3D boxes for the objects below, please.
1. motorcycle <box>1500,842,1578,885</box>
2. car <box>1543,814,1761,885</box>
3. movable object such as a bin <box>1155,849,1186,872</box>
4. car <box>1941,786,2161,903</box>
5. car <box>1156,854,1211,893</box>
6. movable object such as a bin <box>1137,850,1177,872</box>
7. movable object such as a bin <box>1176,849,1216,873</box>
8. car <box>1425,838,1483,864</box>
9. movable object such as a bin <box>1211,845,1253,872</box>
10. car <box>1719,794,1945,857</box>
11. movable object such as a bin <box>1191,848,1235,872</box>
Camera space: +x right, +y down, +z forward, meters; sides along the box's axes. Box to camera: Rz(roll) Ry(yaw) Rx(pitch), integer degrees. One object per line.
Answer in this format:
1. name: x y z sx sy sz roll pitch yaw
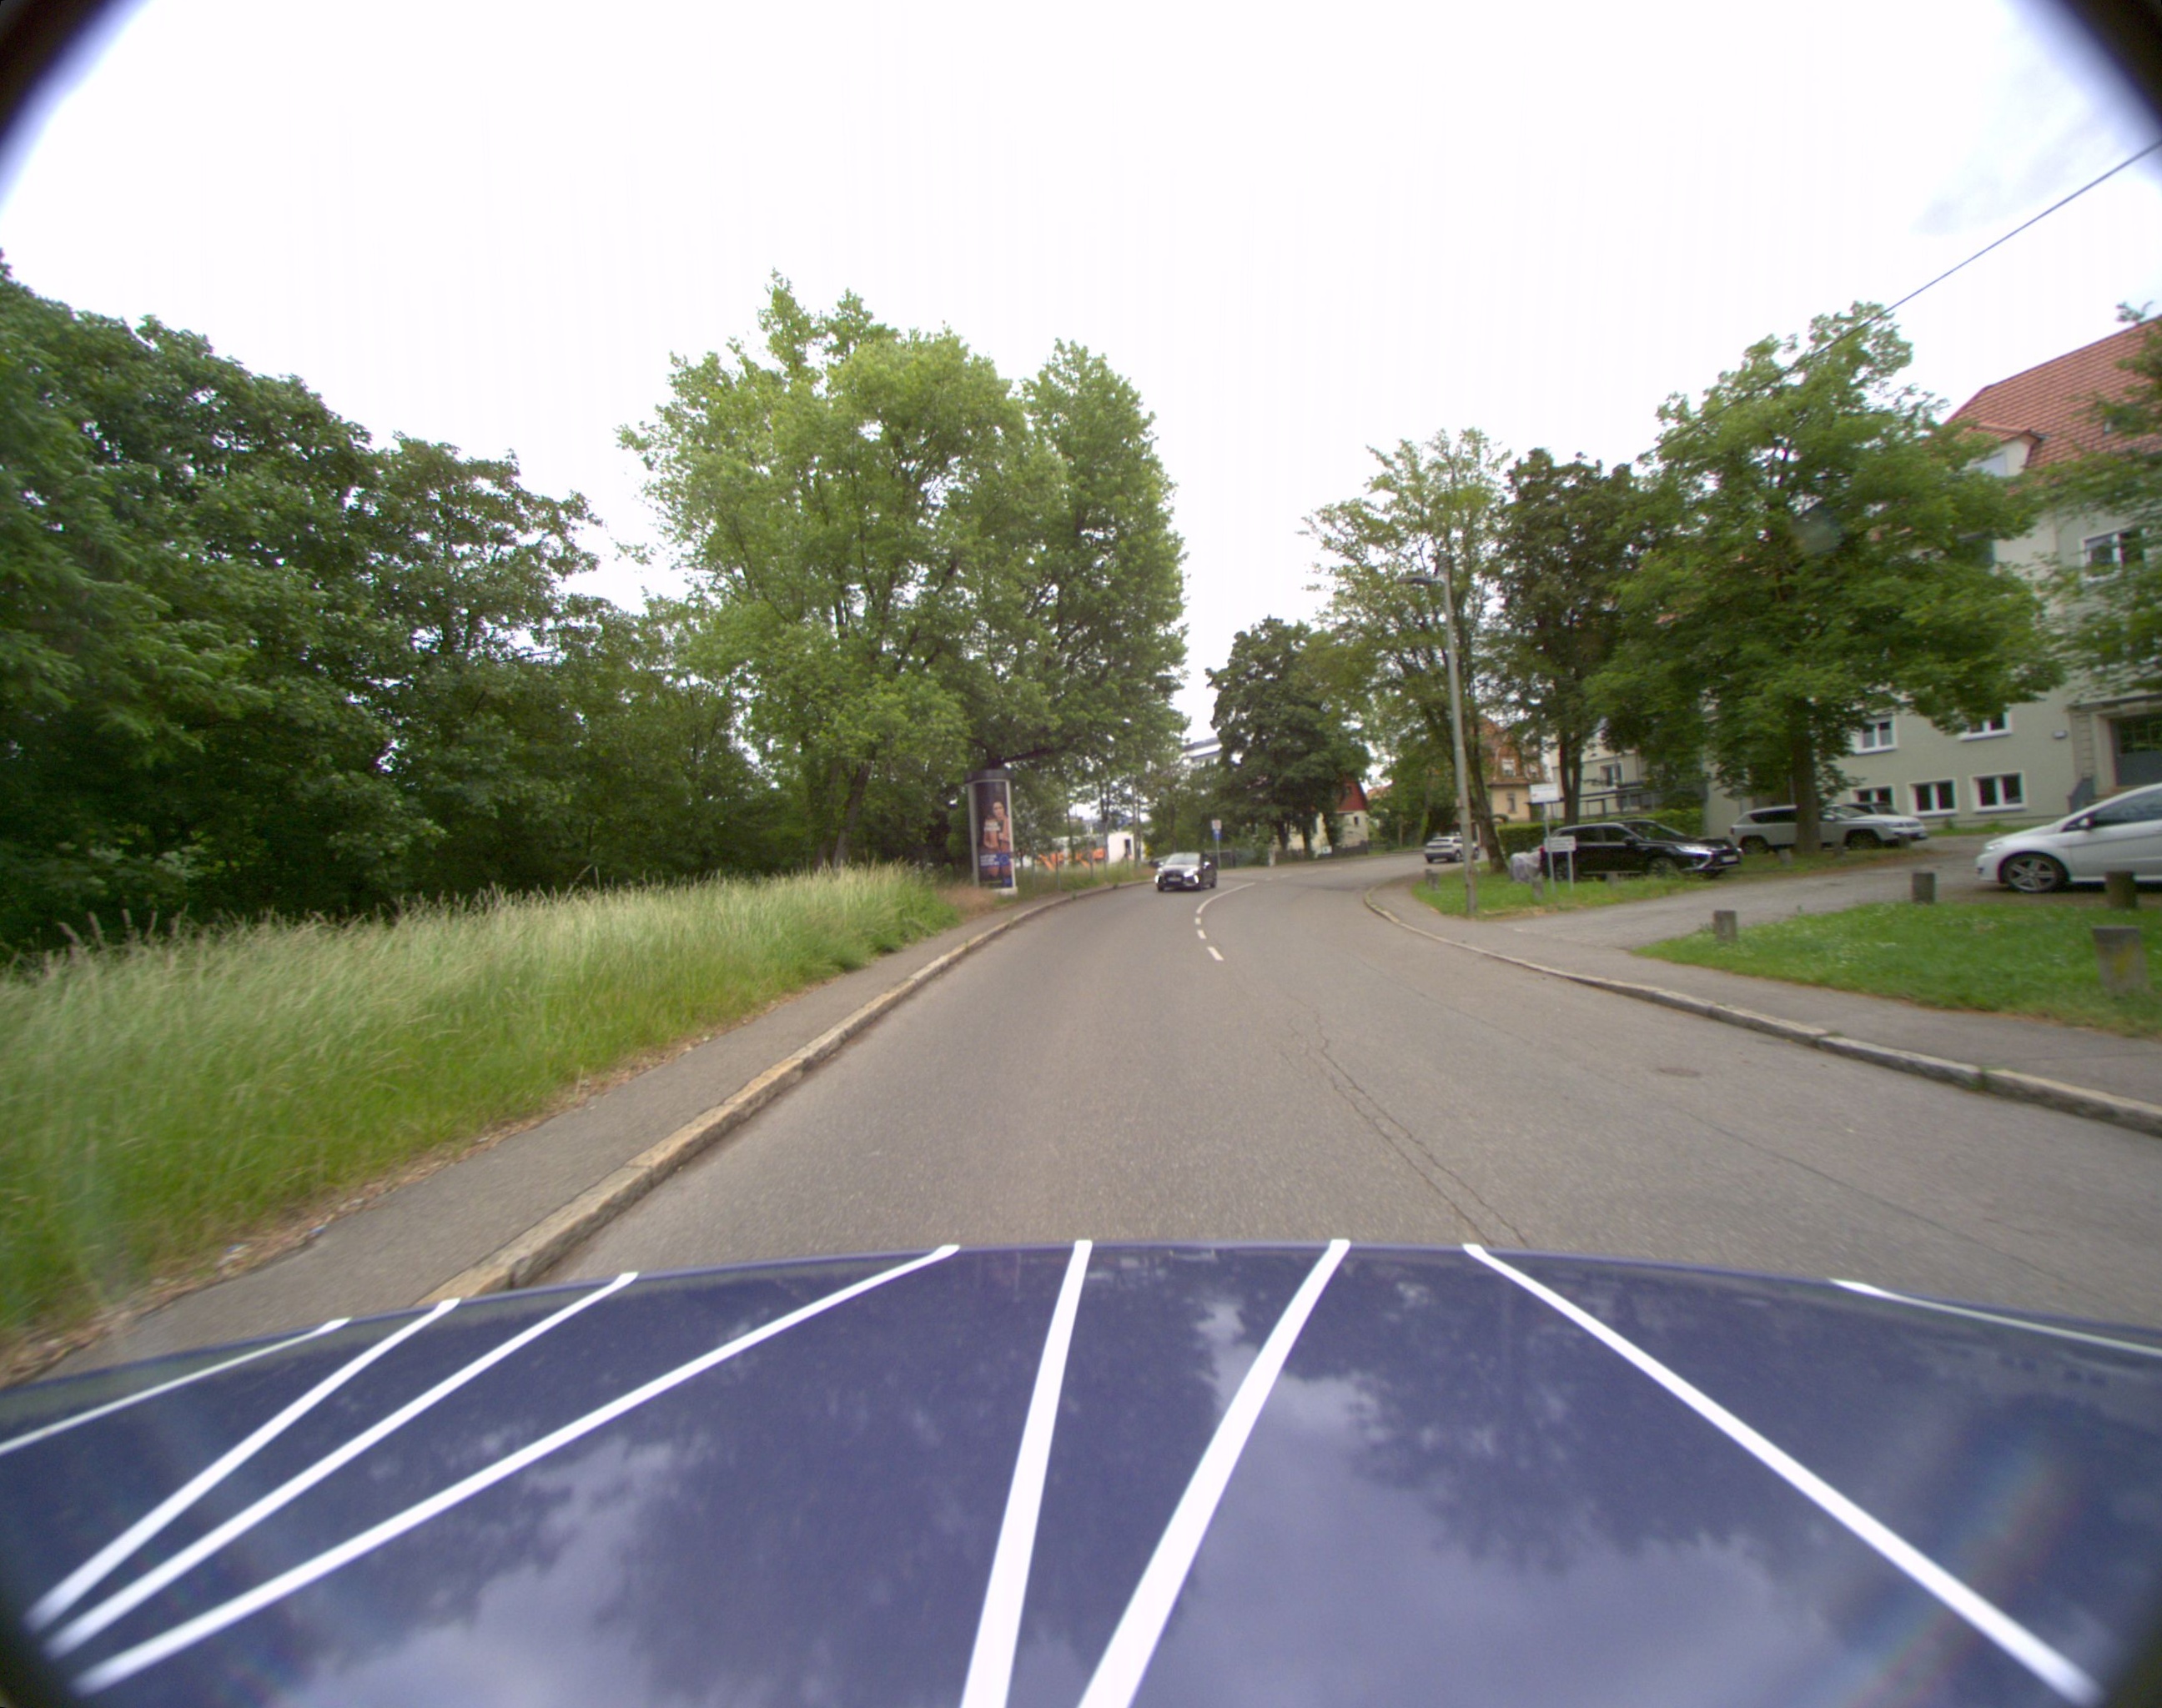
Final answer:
1. motorcycle: 14.153 0.290 23.472 2.068 1.145 0.864 -4 1 -18
2. car: 14.849 -0.065 20.109 1.748 1.584 4.327 -4 0 -18
3. movable object such as a bin: 6.652 0.469 56.471 1.678 1.538 1.423 -4 0 -34
4. car: 15.622 -0.181 10.694 1.748 1.584 4.266 -4 0 -16
5. car: 4.086 0.713 29.811 1.644 1.390 3.785 0 1 15
6. movable object such as a bin: 5.829 0.550 58.725 1.449 1.538 2.890 -4 0 -34
7. movable object such as a bin: 9.375 0.554 61.969 2.211 1.722 2.231 -4 0 -31
8. car: 21.870 -0.210 44.516 4.086 1.449 1.725 -2 2 -43
9. movable object such as a bin: 11.427 0.354 57.537 2.211 1.776 2.105 -4 0 -31
10. car: 23.361 -0.807 23.900 1.958 1.524 4.584 -5 -1 -21
11. movable object such as a bin: 10.417 0.465 59.819 2.211 1.703 2.495 -4 0 -31
